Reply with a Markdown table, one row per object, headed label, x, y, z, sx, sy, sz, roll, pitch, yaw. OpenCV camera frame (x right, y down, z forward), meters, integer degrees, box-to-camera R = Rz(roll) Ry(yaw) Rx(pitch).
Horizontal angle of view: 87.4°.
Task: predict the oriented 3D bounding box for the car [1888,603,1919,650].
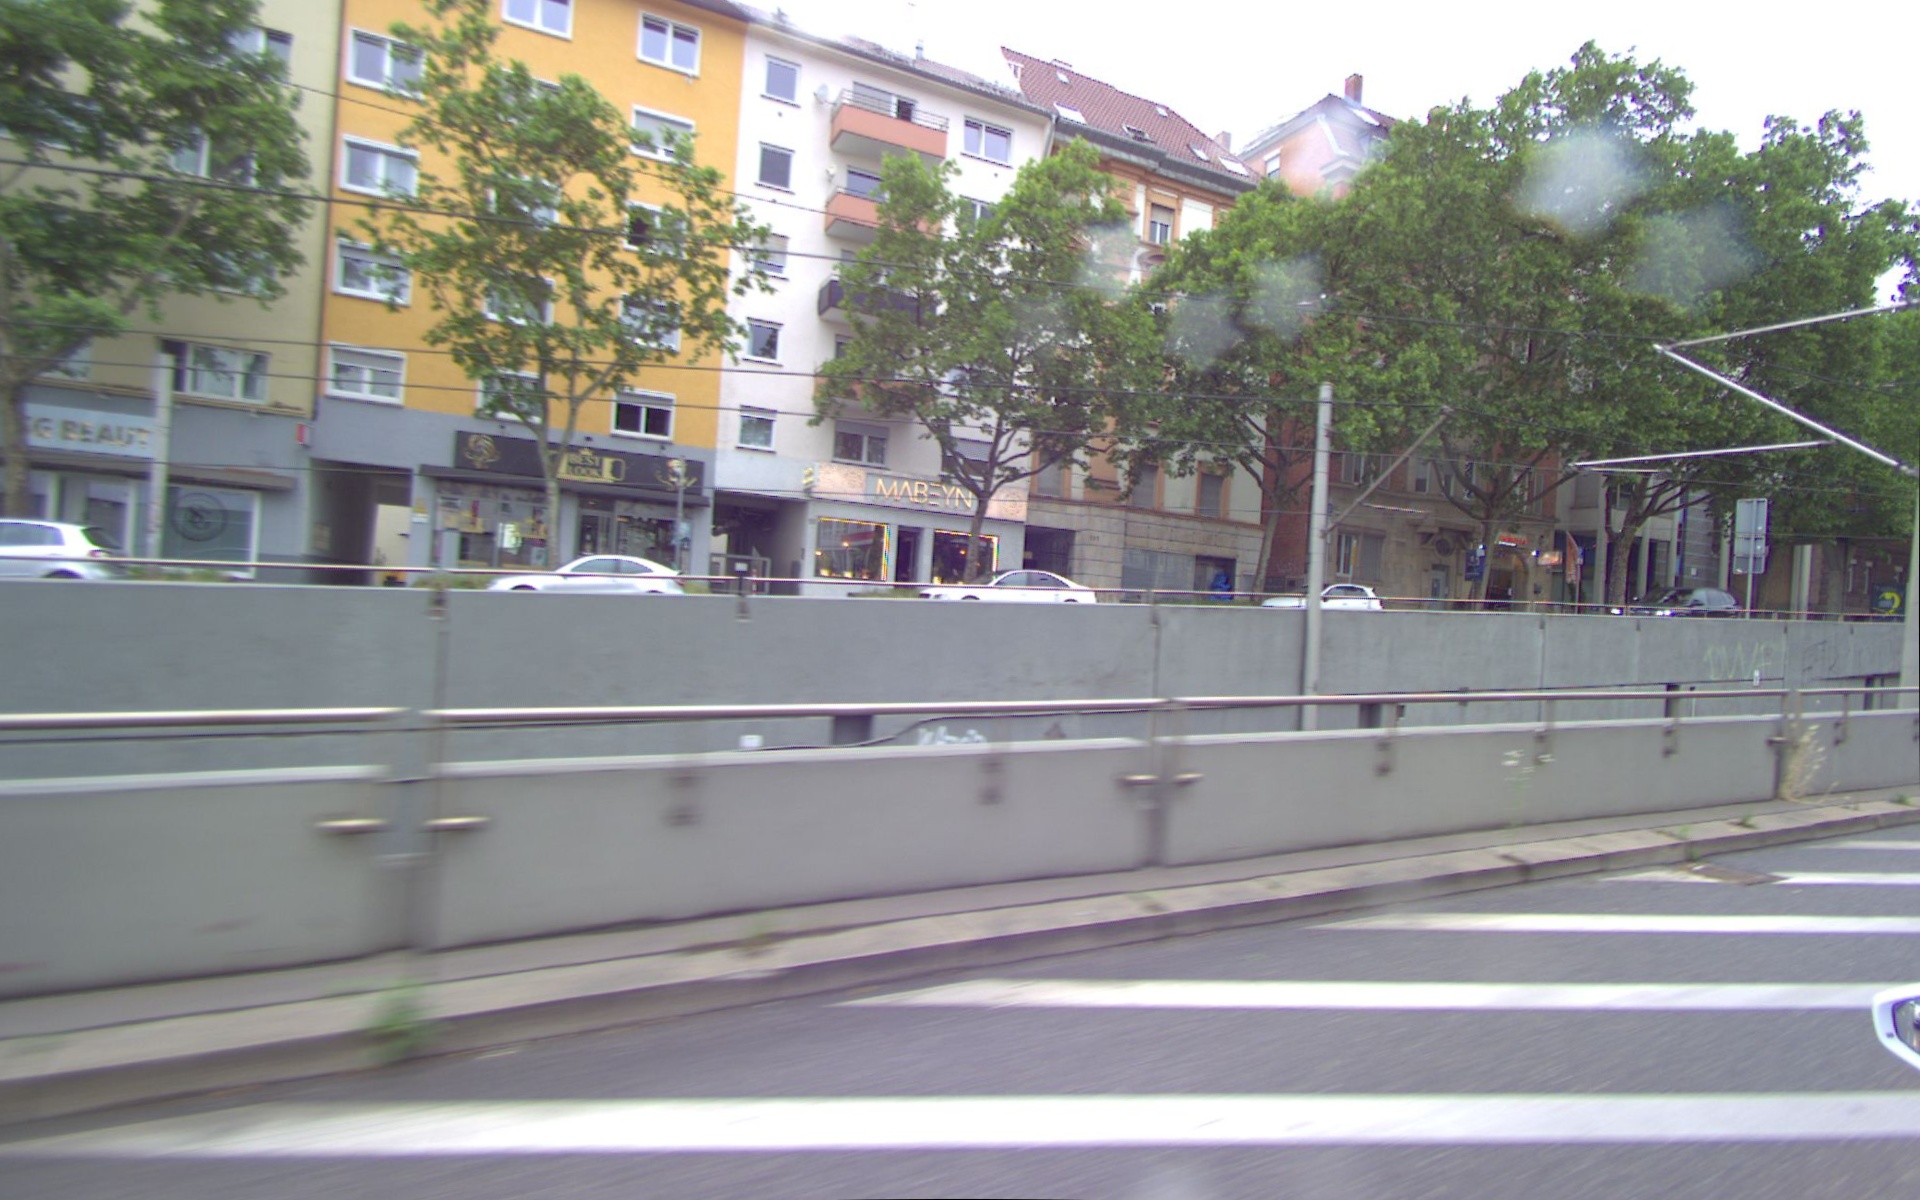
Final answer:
| label | x | y | z | sx | sy | sz | roll | pitch | yaw |
| --- | --- | --- | --- | --- | --- | --- | --- | --- | --- |
| car | 33.965 | 0.951 | 34.518 | 3.950 | 1.530 | 1.787 | 1 | 2 | -28 |

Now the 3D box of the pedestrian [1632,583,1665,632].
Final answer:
| label | x | y | z | sx | sy | sz | roll | pitch | yaw |
| --- | --- | --- | --- | --- | --- | --- | --- | --- | --- |
| pedestrian | 29.735 | 0.301 | 43.377 | 0.922 | 2.040 | 0.667 | 3 | 2 | -24 |

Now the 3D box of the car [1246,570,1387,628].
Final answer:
| label | x | y | z | sx | sy | sz | roll | pitch | yaw |
| --- | --- | --- | --- | --- | --- | --- | --- | --- | --- |
| car | 11.192 | -0.027 | 31.520 | 4.058 | 1.633 | 1.788 | 2 | 2 | -27 |

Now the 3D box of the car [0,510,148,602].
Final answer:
| label | x | y | z | sx | sy | sz | roll | pitch | yaw |
| --- | --- | --- | --- | --- | --- | --- | --- | --- | --- |
| car | -17.748 | -0.848 | 18.378 | 4.151 | 1.592 | 1.788 | 2 | 2 | -25 |

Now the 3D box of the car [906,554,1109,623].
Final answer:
| label | x | y | z | sx | sy | sz | roll | pitch | yaw |
| --- | --- | --- | --- | --- | --- | --- | --- | --- | --- |
| car | 1.288 | -0.299 | 26.975 | 5.130 | 1.623 | 1.920 | 2 | 2 | -26 |

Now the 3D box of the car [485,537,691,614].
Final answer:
| label | x | y | z | sx | sy | sz | roll | pitch | yaw |
| --- | --- | --- | --- | --- | --- | --- | --- | --- | --- |
| car | -8.325 | -0.536 | 22.523 | 4.151 | 1.530 | 1.788 | 2 | 2 | -25 |

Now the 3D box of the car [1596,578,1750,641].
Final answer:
| label | x | y | z | sx | sy | sz | roll | pitch | yaw |
| --- | --- | --- | --- | --- | --- | --- | --- | --- | --- |
| car | 23.713 | 0.335 | 33.387 | 4.900 | 1.877 | 1.950 | 2 | 2 | -25 |
